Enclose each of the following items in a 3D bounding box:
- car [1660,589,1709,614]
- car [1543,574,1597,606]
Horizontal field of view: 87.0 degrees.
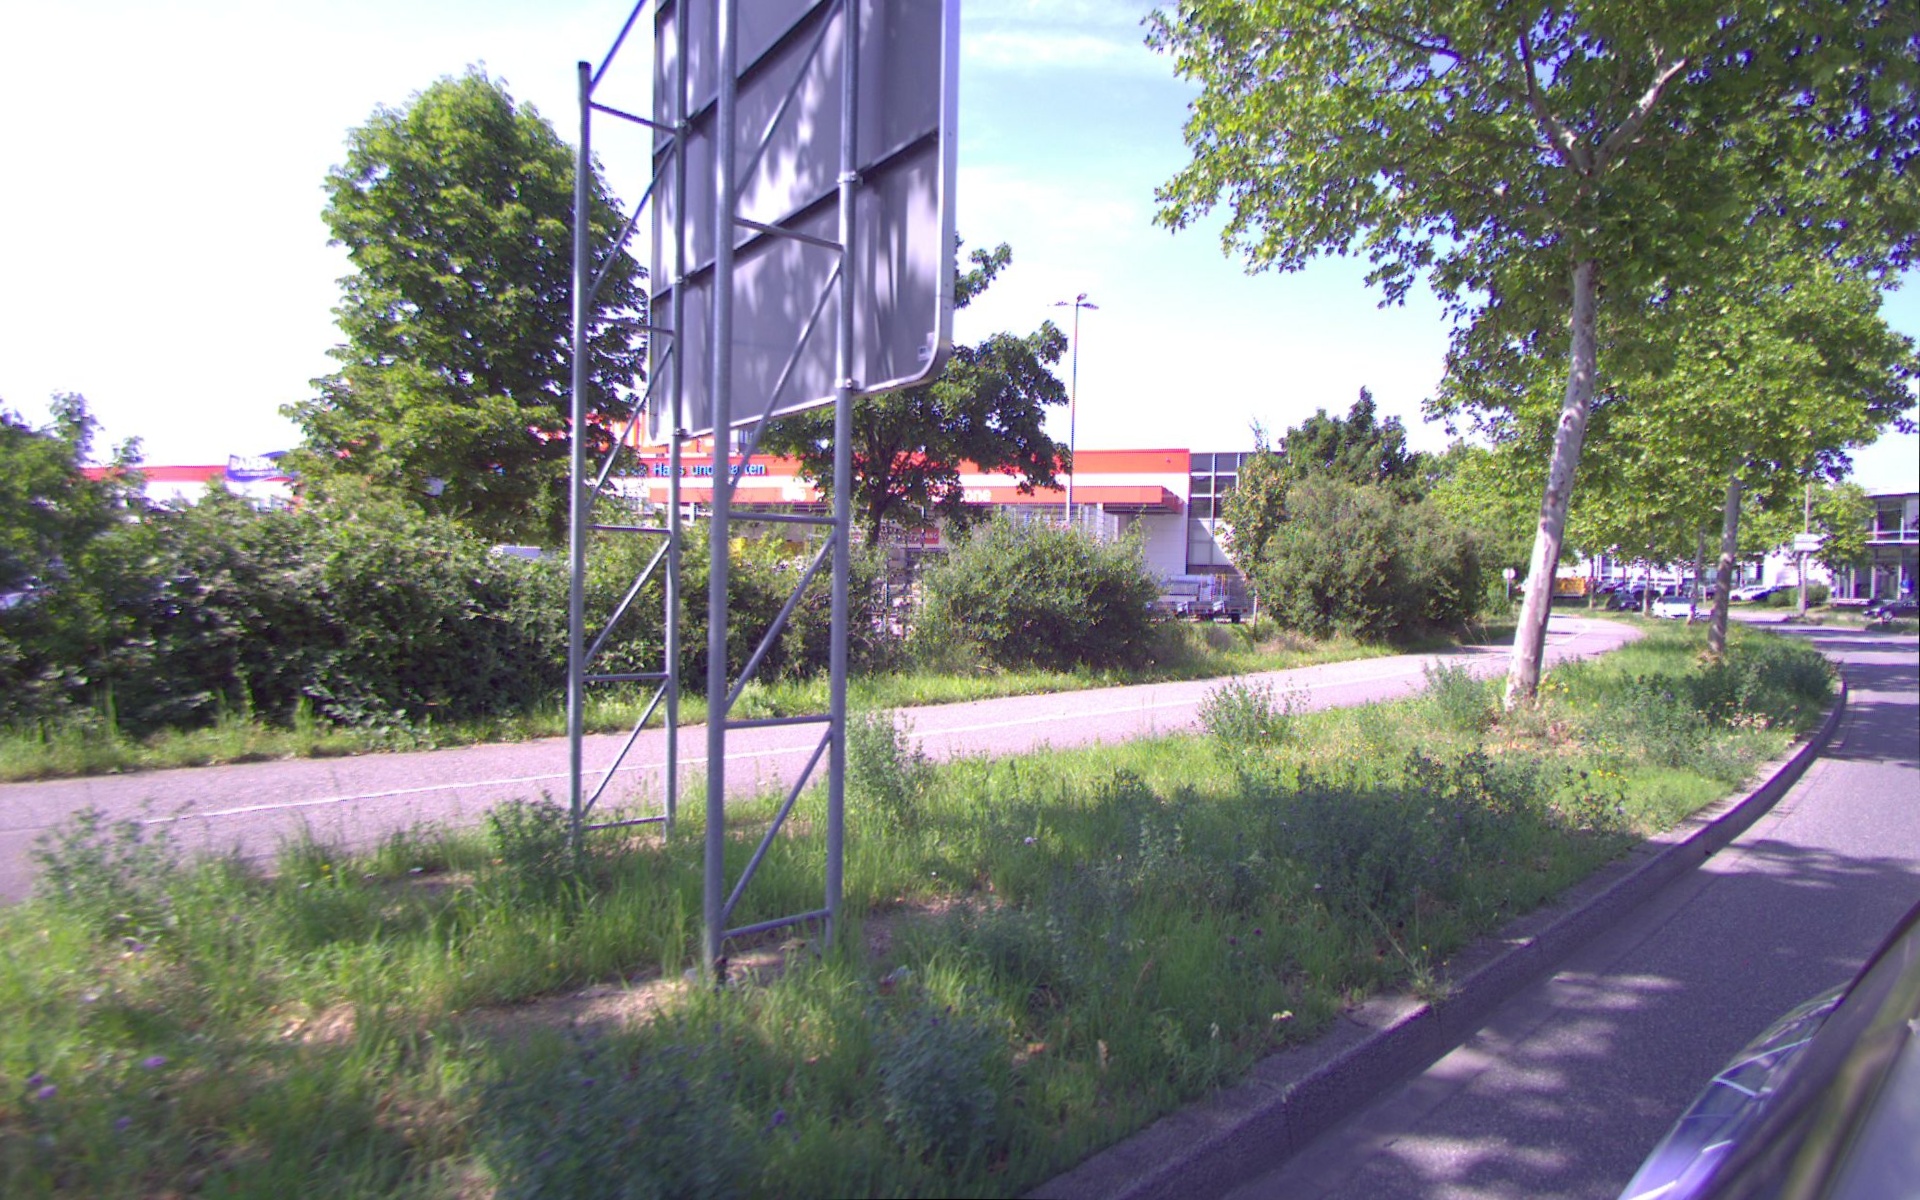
[{"bbox_3d":[46.755,0.062,65.373,1.806,1.540,4.171,1,1,26],"label":"car"},{"bbox_3d":[69.136,-1.128,114.865,2.736,3.475,6.003,-1,0,4],"label":"car"}]
